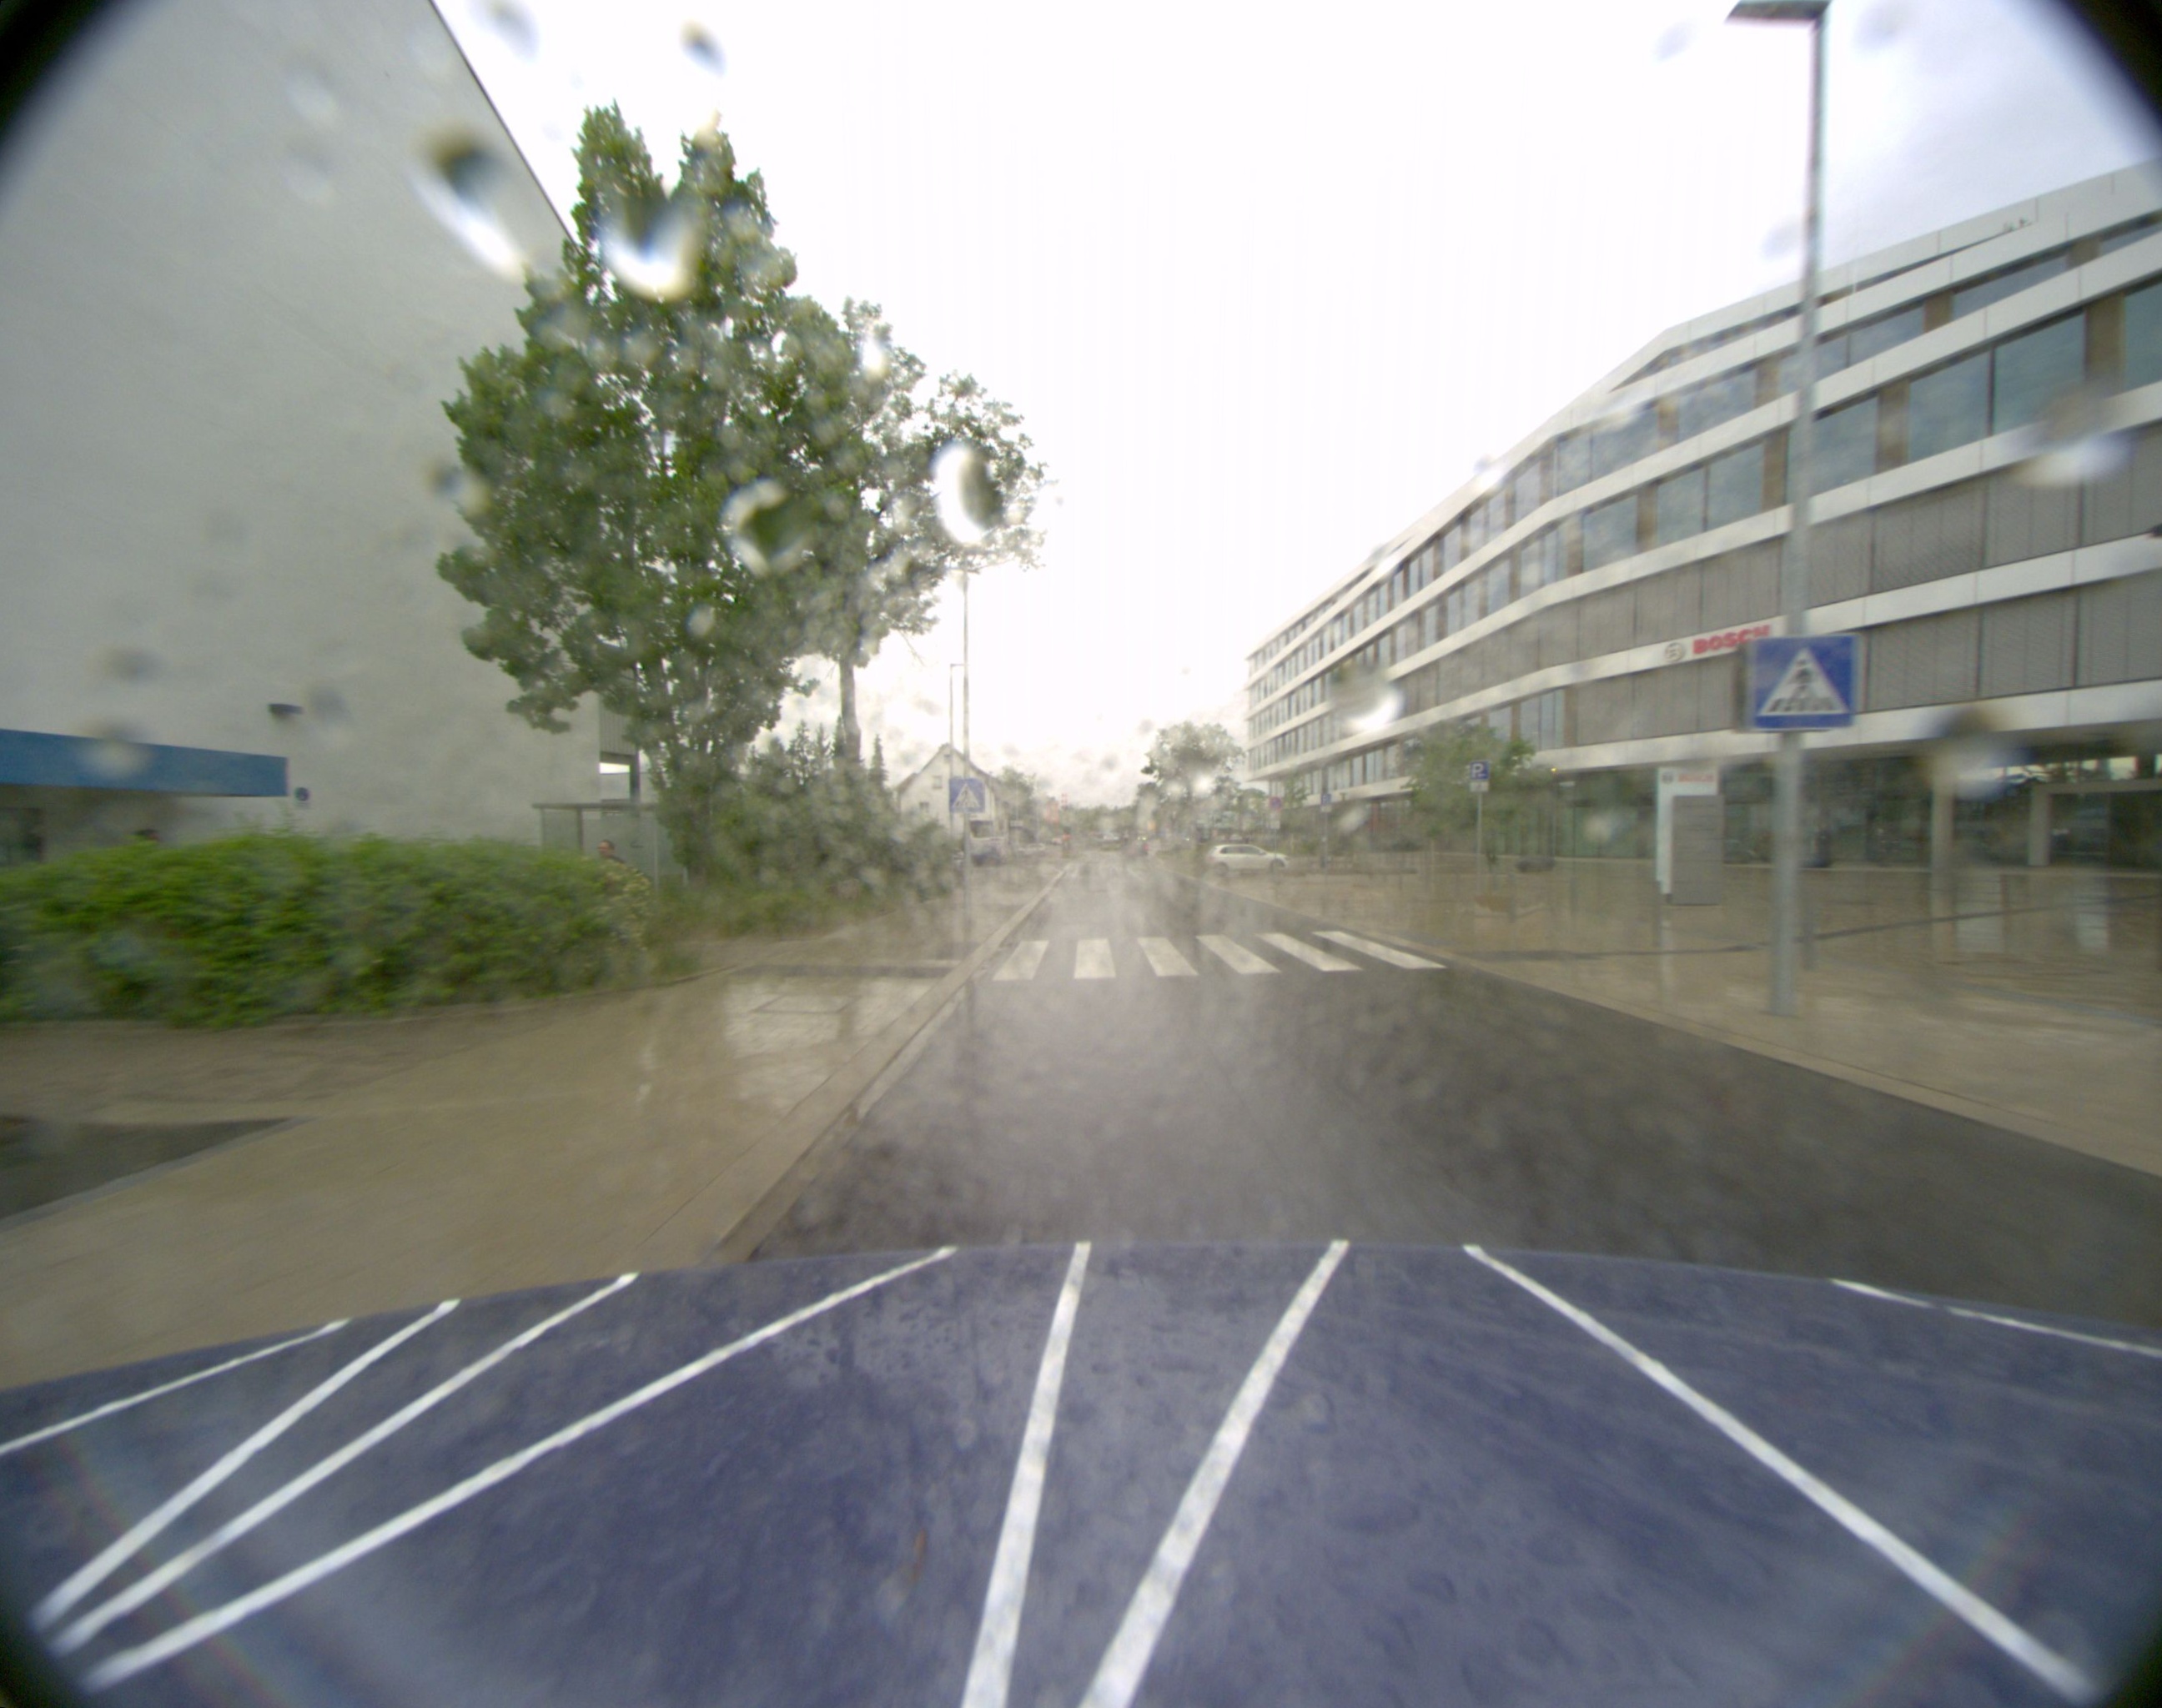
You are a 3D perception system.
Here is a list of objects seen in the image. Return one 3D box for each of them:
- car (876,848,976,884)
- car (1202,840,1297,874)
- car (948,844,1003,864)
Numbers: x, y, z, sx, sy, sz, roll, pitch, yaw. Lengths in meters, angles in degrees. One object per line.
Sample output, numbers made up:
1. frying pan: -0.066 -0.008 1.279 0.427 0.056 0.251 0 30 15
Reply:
1. car: -6.644 0.496 32.896 3.998 1.445 1.868 -1 1 -3
2. car: 7.942 0.146 36.145 4.166 1.411 2.000 -2 1 5
3. car: -7.947 -0.037 57.509 3.998 1.445 1.868 -1 1 -3
